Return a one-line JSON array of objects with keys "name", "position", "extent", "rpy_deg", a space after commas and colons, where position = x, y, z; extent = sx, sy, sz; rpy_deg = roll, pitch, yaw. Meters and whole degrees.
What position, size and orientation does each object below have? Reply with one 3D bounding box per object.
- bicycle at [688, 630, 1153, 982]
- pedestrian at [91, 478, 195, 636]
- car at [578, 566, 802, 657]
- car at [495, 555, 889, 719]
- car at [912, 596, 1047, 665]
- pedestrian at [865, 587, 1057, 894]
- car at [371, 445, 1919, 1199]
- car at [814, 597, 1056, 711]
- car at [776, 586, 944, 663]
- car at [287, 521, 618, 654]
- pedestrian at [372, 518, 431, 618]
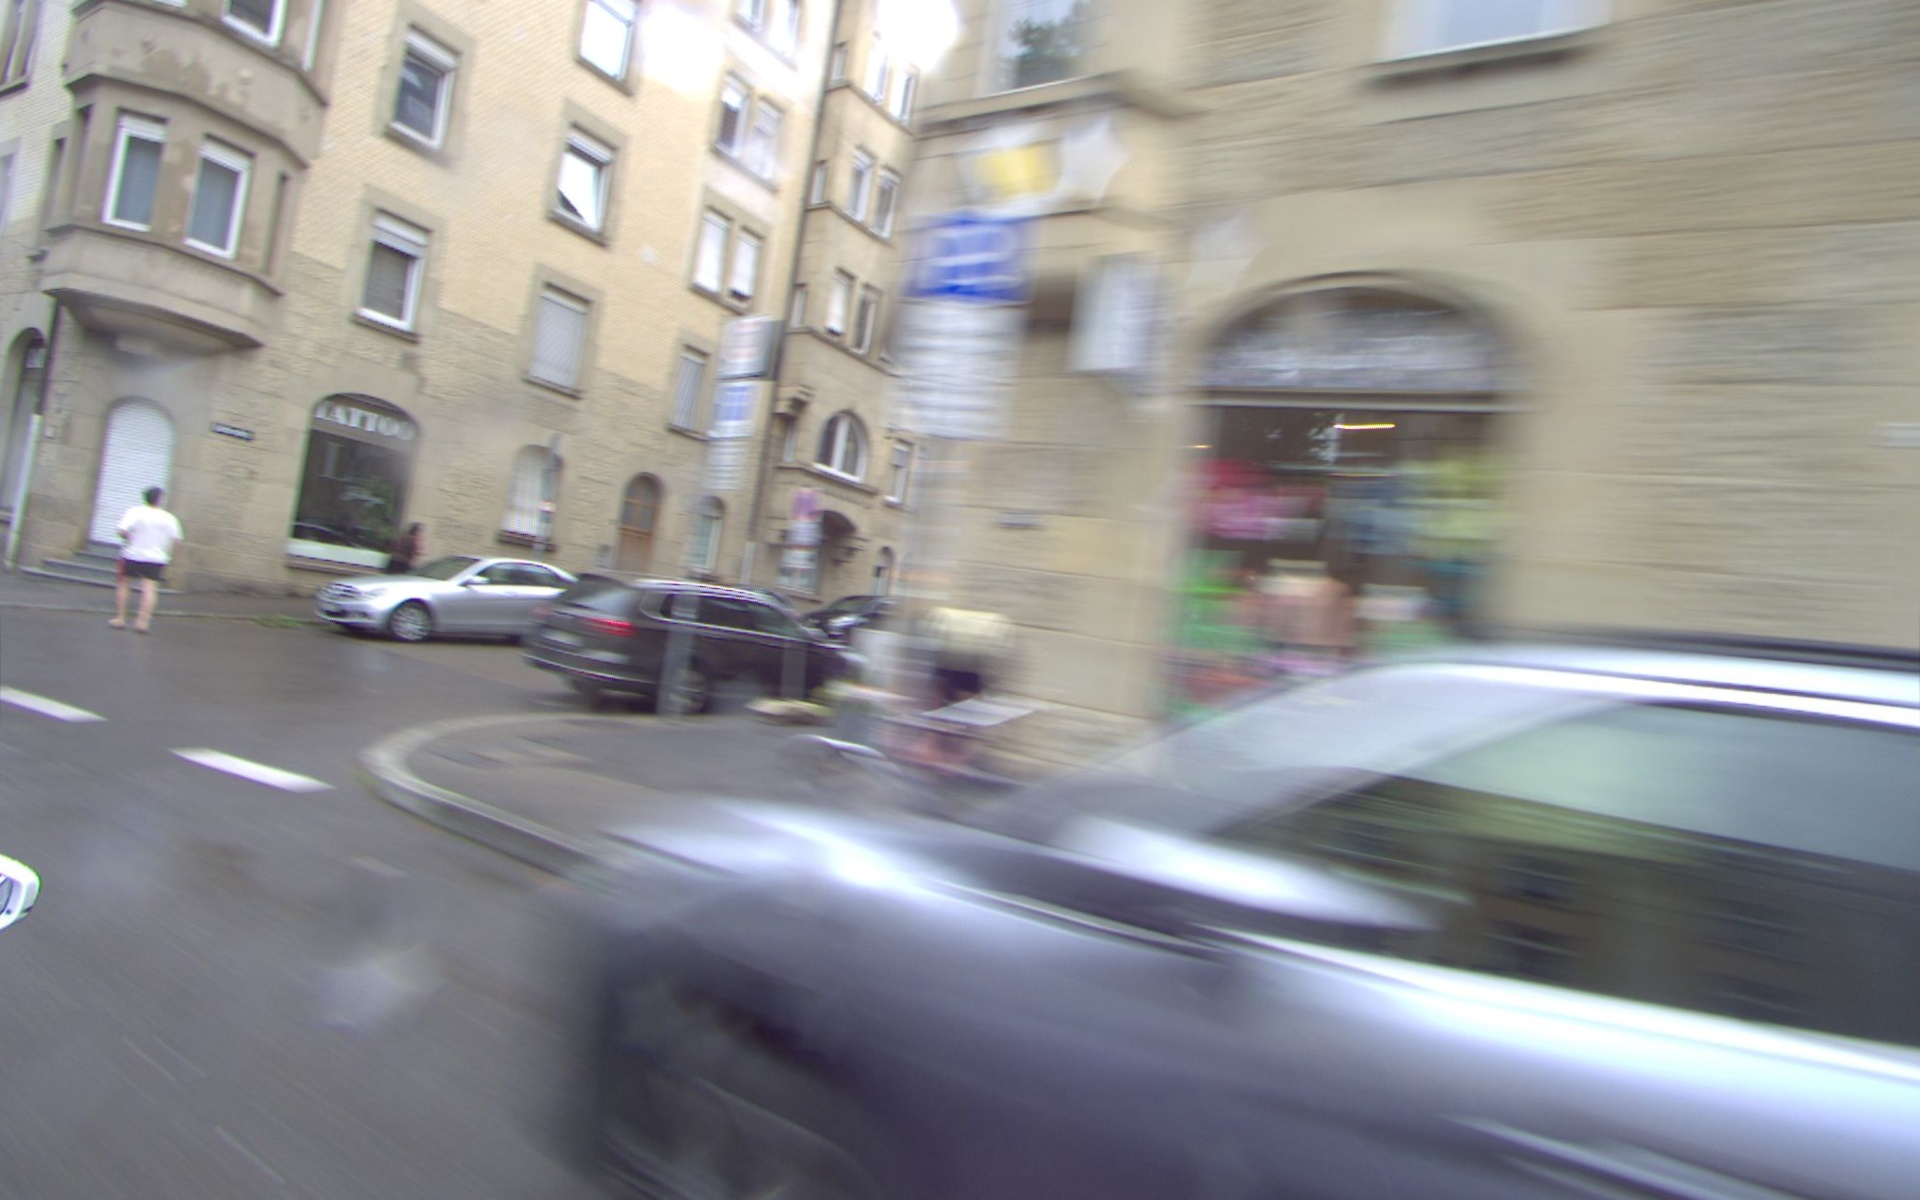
[{"name": "bicycle", "position": [-0.253, 0.855, 4.764], "extent": [2.093, 1.148, 0.622], "rpy_deg": [7, -1, 32]}, {"name": "pedestrian", "position": [-9.965, -0.516, 12.277], "extent": [0.746, 1.809, 0.694], "rpy_deg": [7, 1, 37]}, {"name": "car", "position": [-5.363, 0.298, 20.529], "extent": [1.747, 1.438, 4.283], "rpy_deg": [7, 0, 31]}, {"name": "car", "position": [-3.046, 0.534, 12.386], "extent": [1.834, 1.502, 4.454], "rpy_deg": [8, -1, 34]}, {"name": "car", "position": [0.682, 0.976, 30.759], "extent": [1.970, 1.698, 4.302], "rpy_deg": [3, -4, 35]}, {"name": "pedestrian", "position": [-0.015, 0.670, 5.033], "extent": [0.633, 1.385, 0.670], "rpy_deg": [8, -1, -16]}, {"name": "car", "position": [1.058, 0.812, 2.004], "extent": [4.258, 1.687, 1.771], "rpy_deg": [7, -3, 29]}, {"name": "car", "position": [-0.267, 0.951, 16.705], "extent": [1.834, 1.460, 4.131], "rpy_deg": [7, -1, 34]}, {"name": "car", "position": [-2.412, 0.654, 25.214], "extent": [1.749, 1.500, 4.282], "rpy_deg": [5, -3, 35]}, {"name": "car", "position": [-8.035, -0.121, 16.354], "extent": [1.861, 1.549, 4.342], "rpy_deg": [7, -1, 33]}, {"name": "pedestrian", "position": [-10.181, -0.582, 18.352], "extent": [0.616, 1.708, 0.548], "rpy_deg": [7, -1, 35]}]
